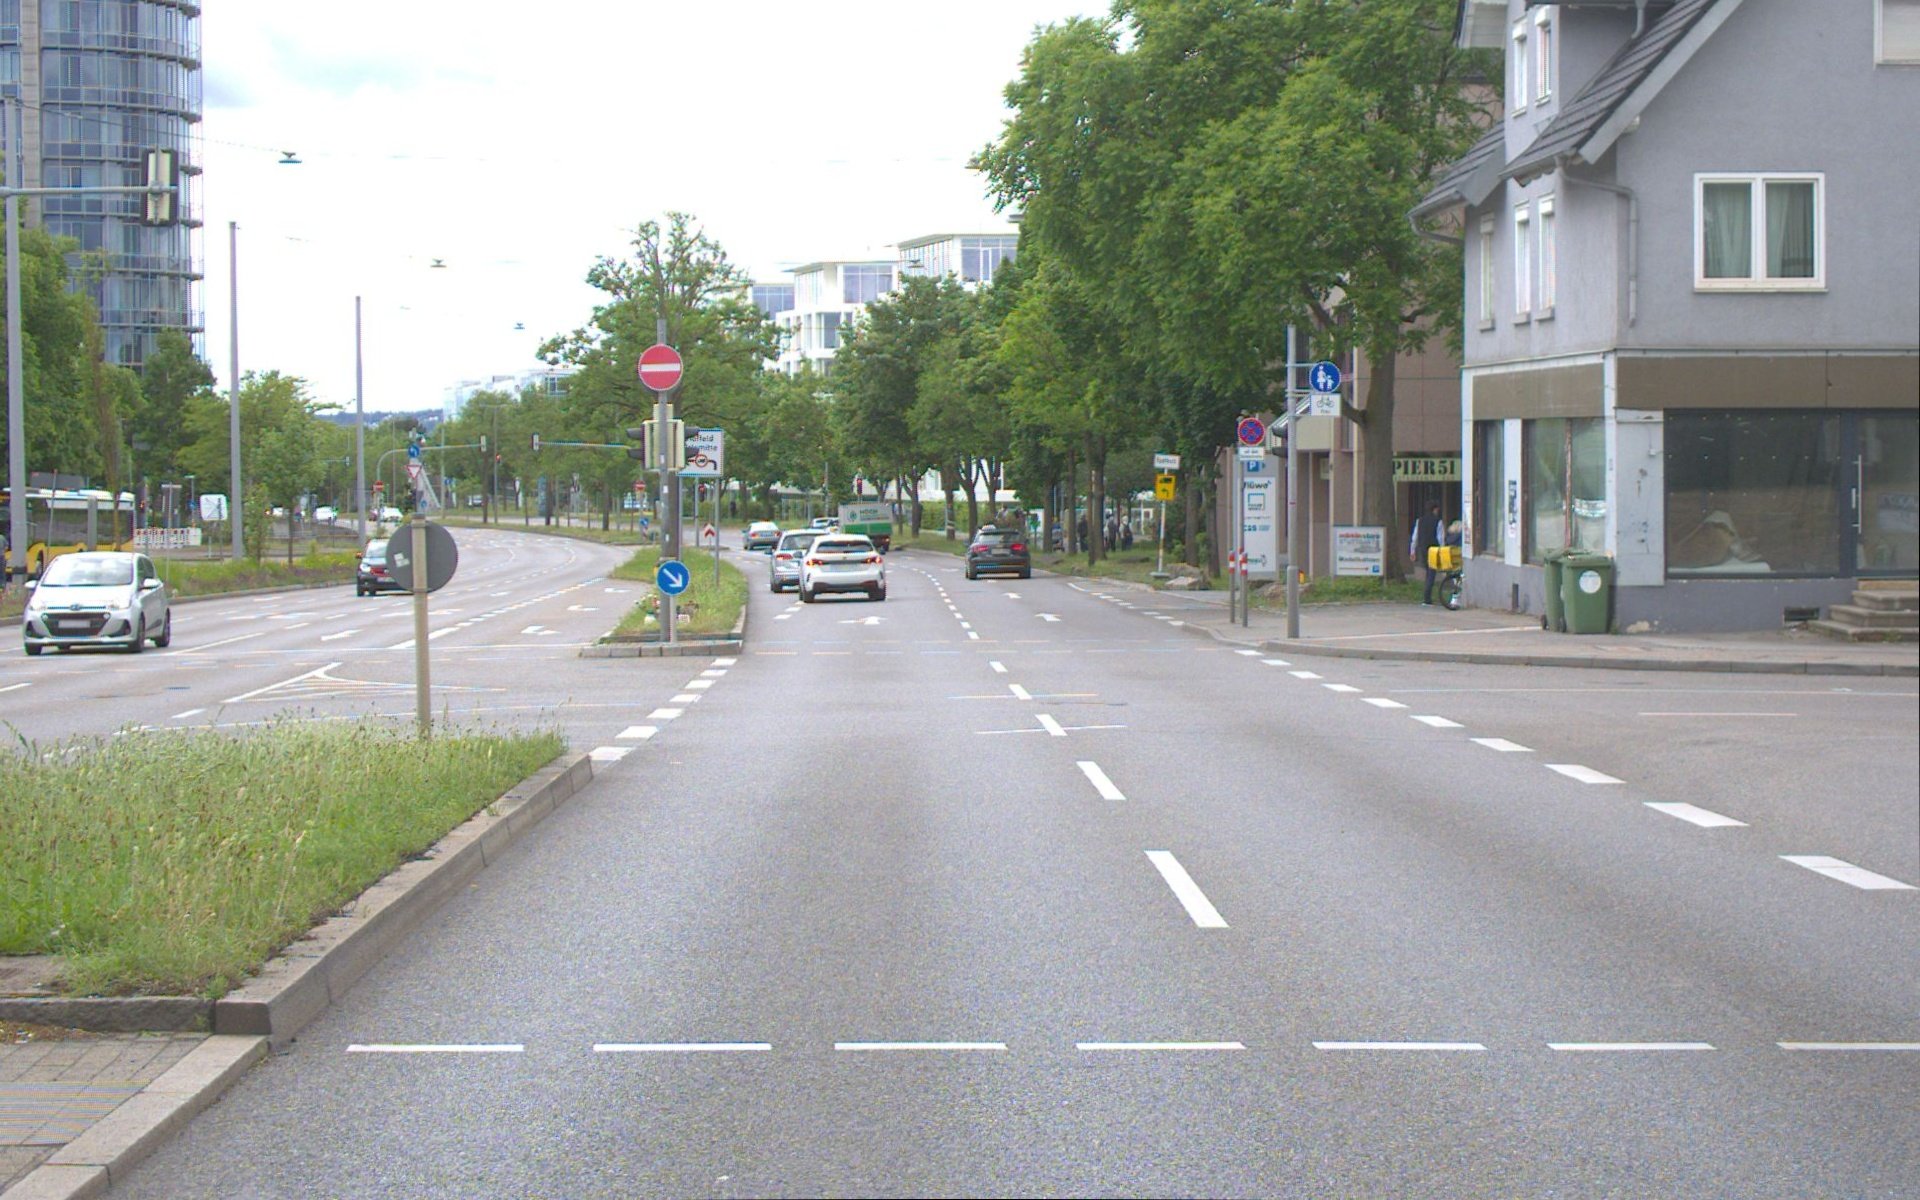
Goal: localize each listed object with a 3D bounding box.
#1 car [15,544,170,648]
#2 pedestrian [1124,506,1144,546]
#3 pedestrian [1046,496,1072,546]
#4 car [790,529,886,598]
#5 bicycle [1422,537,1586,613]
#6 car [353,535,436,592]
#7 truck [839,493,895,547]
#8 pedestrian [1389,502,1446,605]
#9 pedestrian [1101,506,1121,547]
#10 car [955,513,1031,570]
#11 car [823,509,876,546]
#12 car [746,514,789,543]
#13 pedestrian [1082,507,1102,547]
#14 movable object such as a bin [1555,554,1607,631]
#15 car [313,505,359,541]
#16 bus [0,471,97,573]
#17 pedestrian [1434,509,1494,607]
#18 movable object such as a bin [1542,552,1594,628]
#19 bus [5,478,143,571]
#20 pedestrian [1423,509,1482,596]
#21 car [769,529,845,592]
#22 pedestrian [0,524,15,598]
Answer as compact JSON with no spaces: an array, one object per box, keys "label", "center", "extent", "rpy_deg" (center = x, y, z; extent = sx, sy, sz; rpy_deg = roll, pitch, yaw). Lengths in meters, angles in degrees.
[{"label":"car","center":[-12.809,-0.089,50.924],"extent":[1.684,1.457,3.556],"rpy_deg":[-1,1,-5]},{"label":"pedestrian","center":[6.763,-2.874,133.726],"extent":[0.650,1.564,0.671],"rpy_deg":[-1,1,-8]},{"label":"pedestrian","center":[4.033,-3.231,140.145],"extent":[0.971,2.007,0.981],"rpy_deg":[1,0,-1]},{"label":"car","center":[-2.672,-0.819,76.000],"extent":[1.993,1.472,4.256],"rpy_deg":[-1,1,-1]},{"label":"bicycle","center":[8.965,-0.412,56.716],"extent":[2.435,1.213,1.076],"rpy_deg":[0,1,33]},{"label":"car","center":[-15.297,-0.993,93.129],"extent":[1.702,1.487,3.562],"rpy_deg":[-1,1,-1]},{"label":"truck","center":[-4.266,-3.642,156.468],"extent":[2.251,2.408,4.934],"rpy_deg":[0,1,-5]},{"label":"pedestrian","center":[8.027,-0.816,60.283],"extent":[0.706,1.773,0.869],"rpy_deg":[0,1,29]},{"label":"pedestrian","center":[5.883,-2.857,133.916],"extent":[0.650,1.564,0.671],"rpy_deg":[-1,1,-8]},{"label":"car","center":[0.920,-1.644,97.376],"extent":[1.889,1.489,4.099],"rpy_deg":[-2,0,-3]},{"label":"car","center":[-5.311,-3.474,165.065],"extent":[2.251,1.751,4.934],"rpy_deg":[-1,1,-5]},{"label":"car","center":[-9.692,-3.593,173.152],"extent":[1.967,1.415,4.023],"rpy_deg":[-1,1,-5]},{"label":"pedestrian","center":[5.153,-2.842,133.916],"extent":[0.650,1.564,0.671],"rpy_deg":[-1,1,-8]},{"label":"movable object such as a bin","center":[7.955,-0.102,44.048],"extent":[0.529,0.976,0.736],"rpy_deg":[-1,1,-1]},{"label":"car","center":[-36.334,-4.459,200.262],"extent":[1.965,2.007,4.000],"rpy_deg":[1,1,-1]},{"label":"bus","center":[-31.399,-2.565,114.465],"extent":[3.144,3.214,10.286],"rpy_deg":[-1,1,-3]},{"label":"pedestrian","center":[9.147,-0.764,62.394],"extent":[0.867,1.773,0.708],"rpy_deg":[-1,1,-14]},{"label":"movable object such as a bin","center":[7.927,-0.133,44.838],"extent":[0.529,0.976,0.736],"rpy_deg":[-1,1,-1]},{"label":"bus","center":[-31.737,-2.706,123.469],"extent":[3.144,3.214,7.766],"rpy_deg":[-1,1,-2]},{"label":"pedestrian","center":[8.541,-0.828,59.641],"extent":[0.706,1.502,0.868],"rpy_deg":[0,1,32]},{"label":"car","center":[-3.904,-1.020,87.277],"extent":[1.822,1.535,4.115],"rpy_deg":[-1,1,-4]},{"label":"pedestrian","center":[-24.729,-0.991,88.286],"extent":[0.661,1.891,0.685],"rpy_deg":[-1,1,-38]}]
